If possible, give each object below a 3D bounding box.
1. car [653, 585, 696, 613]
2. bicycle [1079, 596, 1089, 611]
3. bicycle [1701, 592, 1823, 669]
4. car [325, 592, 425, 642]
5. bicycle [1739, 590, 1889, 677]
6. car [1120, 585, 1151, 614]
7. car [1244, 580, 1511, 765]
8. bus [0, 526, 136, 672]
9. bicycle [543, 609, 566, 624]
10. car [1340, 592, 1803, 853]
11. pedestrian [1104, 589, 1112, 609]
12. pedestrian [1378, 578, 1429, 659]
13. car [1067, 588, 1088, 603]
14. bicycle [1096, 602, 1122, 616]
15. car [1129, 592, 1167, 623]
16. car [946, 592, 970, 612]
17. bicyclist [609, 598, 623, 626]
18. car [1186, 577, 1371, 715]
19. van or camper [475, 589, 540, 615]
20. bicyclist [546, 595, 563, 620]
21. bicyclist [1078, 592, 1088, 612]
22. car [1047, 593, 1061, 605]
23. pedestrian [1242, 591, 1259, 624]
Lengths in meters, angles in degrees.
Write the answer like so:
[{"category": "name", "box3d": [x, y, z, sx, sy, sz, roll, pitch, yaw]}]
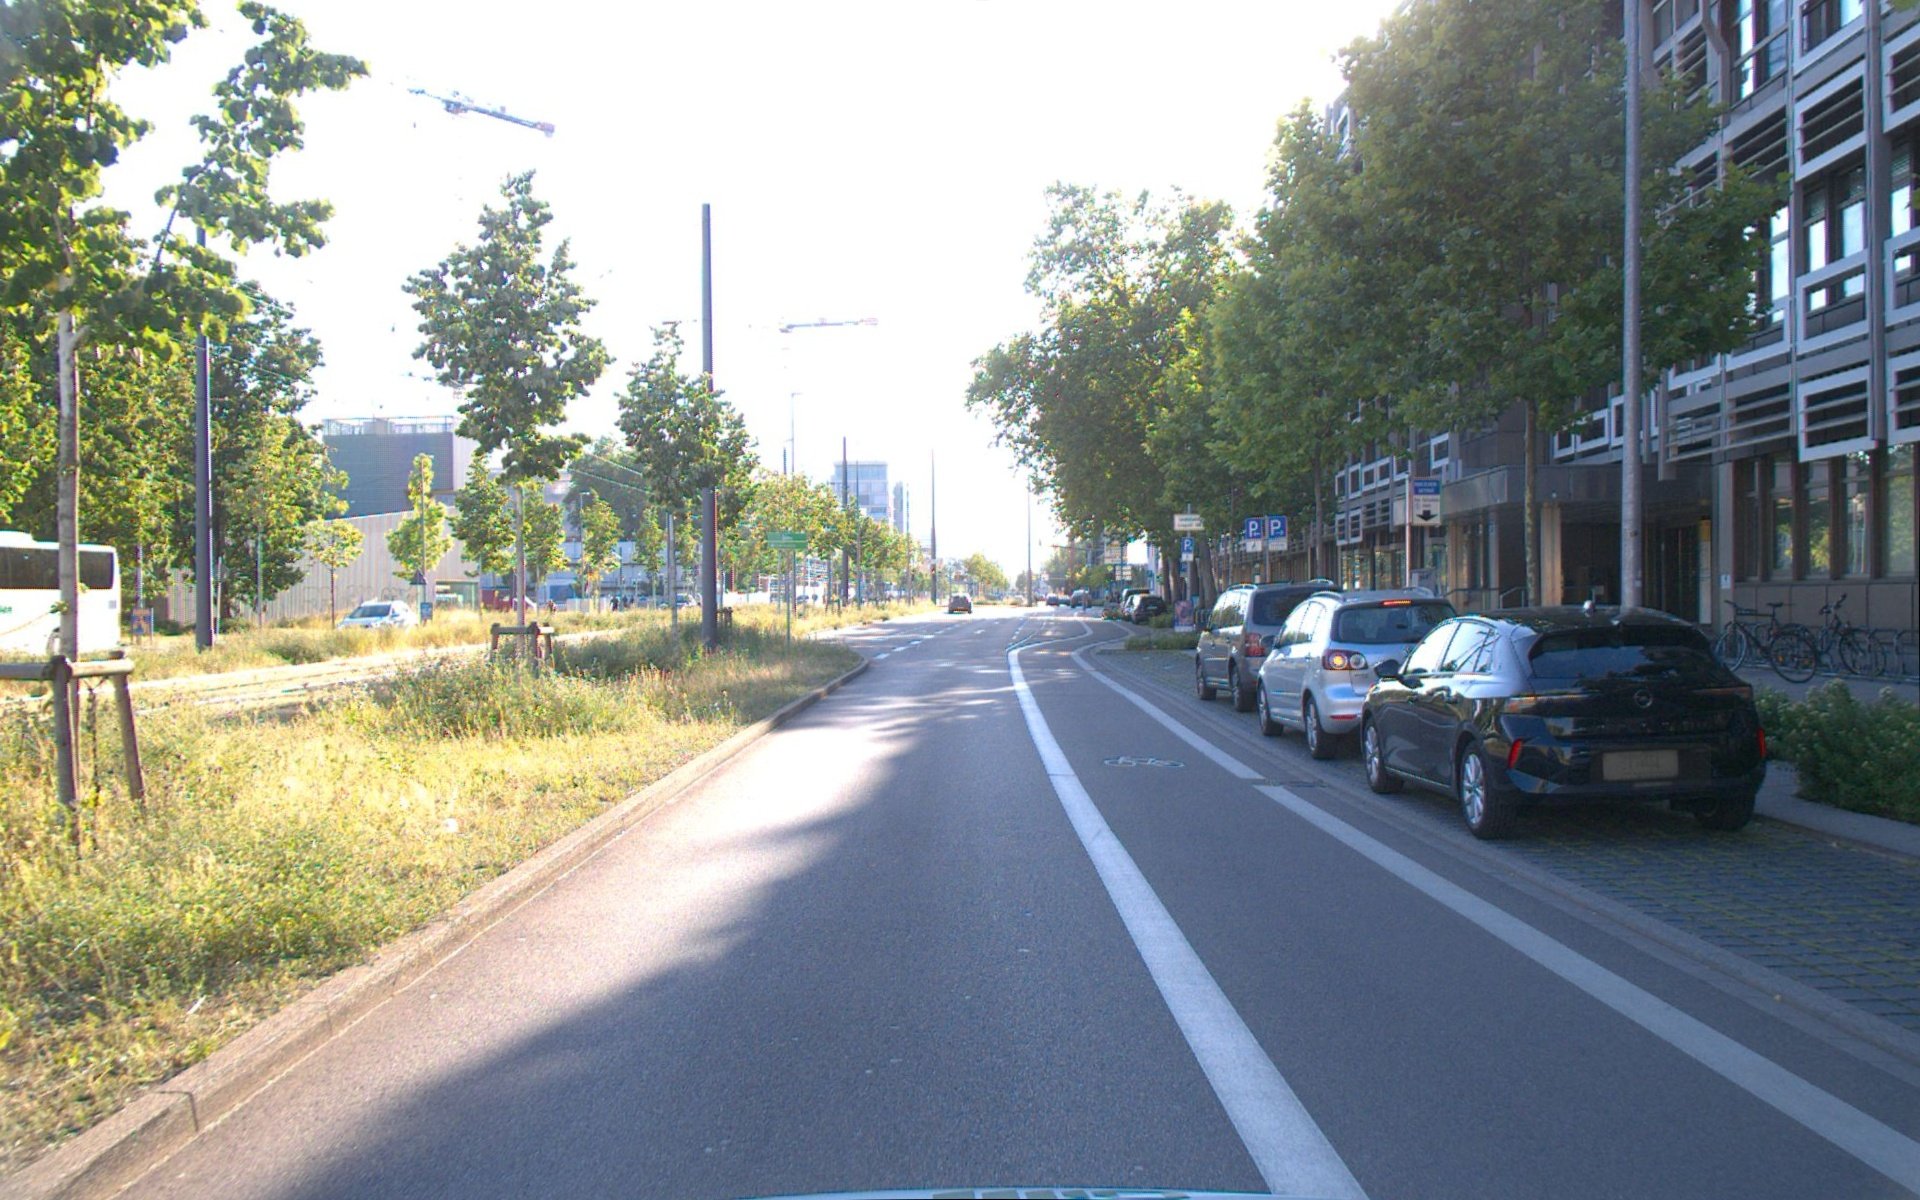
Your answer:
[{"category": "car", "box3d": [-18.568, -0.078, 107.707, 1.832, 1.796, 4.814, -1, 0, 2]}, {"category": "bicycle", "box3d": [10.253, 0.317, 136.833, 0.783, 1.225, 2.265, 0, 0, 4]}, {"category": "bicycle", "box3d": [12.003, 0.449, 24.775, 1.593, 1.101, 0.392, -1, 0, 3]}, {"category": "car", "box3d": [-20.280, 0.555, 57.544, 1.953, 1.671, 4.167, 0, 0, 1]}, {"category": "bicycle", "box3d": [11.576, 0.451, 22.435, 1.862, 1.112, 0.392, -2, 0, -5]}, {"category": "car", "box3d": [10.263, -0.045, 96.567, 1.646, 1.541, 5.063, -3, 0, 7]}, {"category": "car", "box3d": [4.262, 0.663, 17.552, 1.693, 1.650, 4.216, -2, 0, 0]}, {"category": "bus", "box3d": [-25.389, -0.025, 41.655, 2.741, 3.658, 12.699, 0, 0, 1]}, {"category": "bicycle", "box3d": [-22.129, 0.889, 90.289, 0.673, 0.818, 2.145, -1, 0, 1]}, {"category": "car", "box3d": [4.157, 0.720, 12.076, 1.758, 1.474, 4.377, -2, 0, 1]}, {"category": "pedestrian", "box3d": [12.513, -0.061, 139.590, 0.621, 1.636, 0.570, -2, 0, 4]}, {"category": "pedestrian", "box3d": [9.509, 0.388, 35.474, 0.773, 1.677, 1.137, -1, 0, 1]}, {"category": "car", "box3d": [11.736, -0.454, 164.842, 1.900, 1.453, 3.926, -1, 0, 1]}, {"category": "bicycle", "box3d": [10.030, 0.622, 111.045, 1.656, 0.882, 0.573, -2, 0, 11]}, {"category": "car", "box3d": [9.585, 0.381, 84.595, 1.671, 1.443, 4.278, -3, 0, 3]}, {"category": "car", "box3d": [-0.147, 0.131, 125.439, 1.740, 1.453, 4.001, 0, 0, 1]}, {"category": "bicyclist", "box3d": [-21.530, 0.734, 103.516, 0.673, 1.738, 0.954, -1, 0, 3]}, {"category": "car", "box3d": [4.449, 0.579, 23.748, 1.693, 1.718, 4.514, -2, 0, 0]}, {"category": "van or camper", "box3d": [-43.451, 0.202, 158.933, 5.541, 2.456, 2.156, -1, 0, 4]}, {"category": "bicyclist", "box3d": [-22.129, 0.394, 90.287, 0.673, 1.370, 0.871, -1, 0, 1]}, {"category": "bicyclist", "box3d": [10.197, 0.141, 136.768, 0.784, 1.630, 0.785, 0, 0, 0]}, {"category": "car", "box3d": [12.278, -0.150, 216.497, 1.722, 1.511, 3.850, -1, 0, 1]}, {"category": "pedestrian", "box3d": [16.365, 0.421, 93.120, 0.814, 1.888, 0.847, 0, 0, 2]}]
